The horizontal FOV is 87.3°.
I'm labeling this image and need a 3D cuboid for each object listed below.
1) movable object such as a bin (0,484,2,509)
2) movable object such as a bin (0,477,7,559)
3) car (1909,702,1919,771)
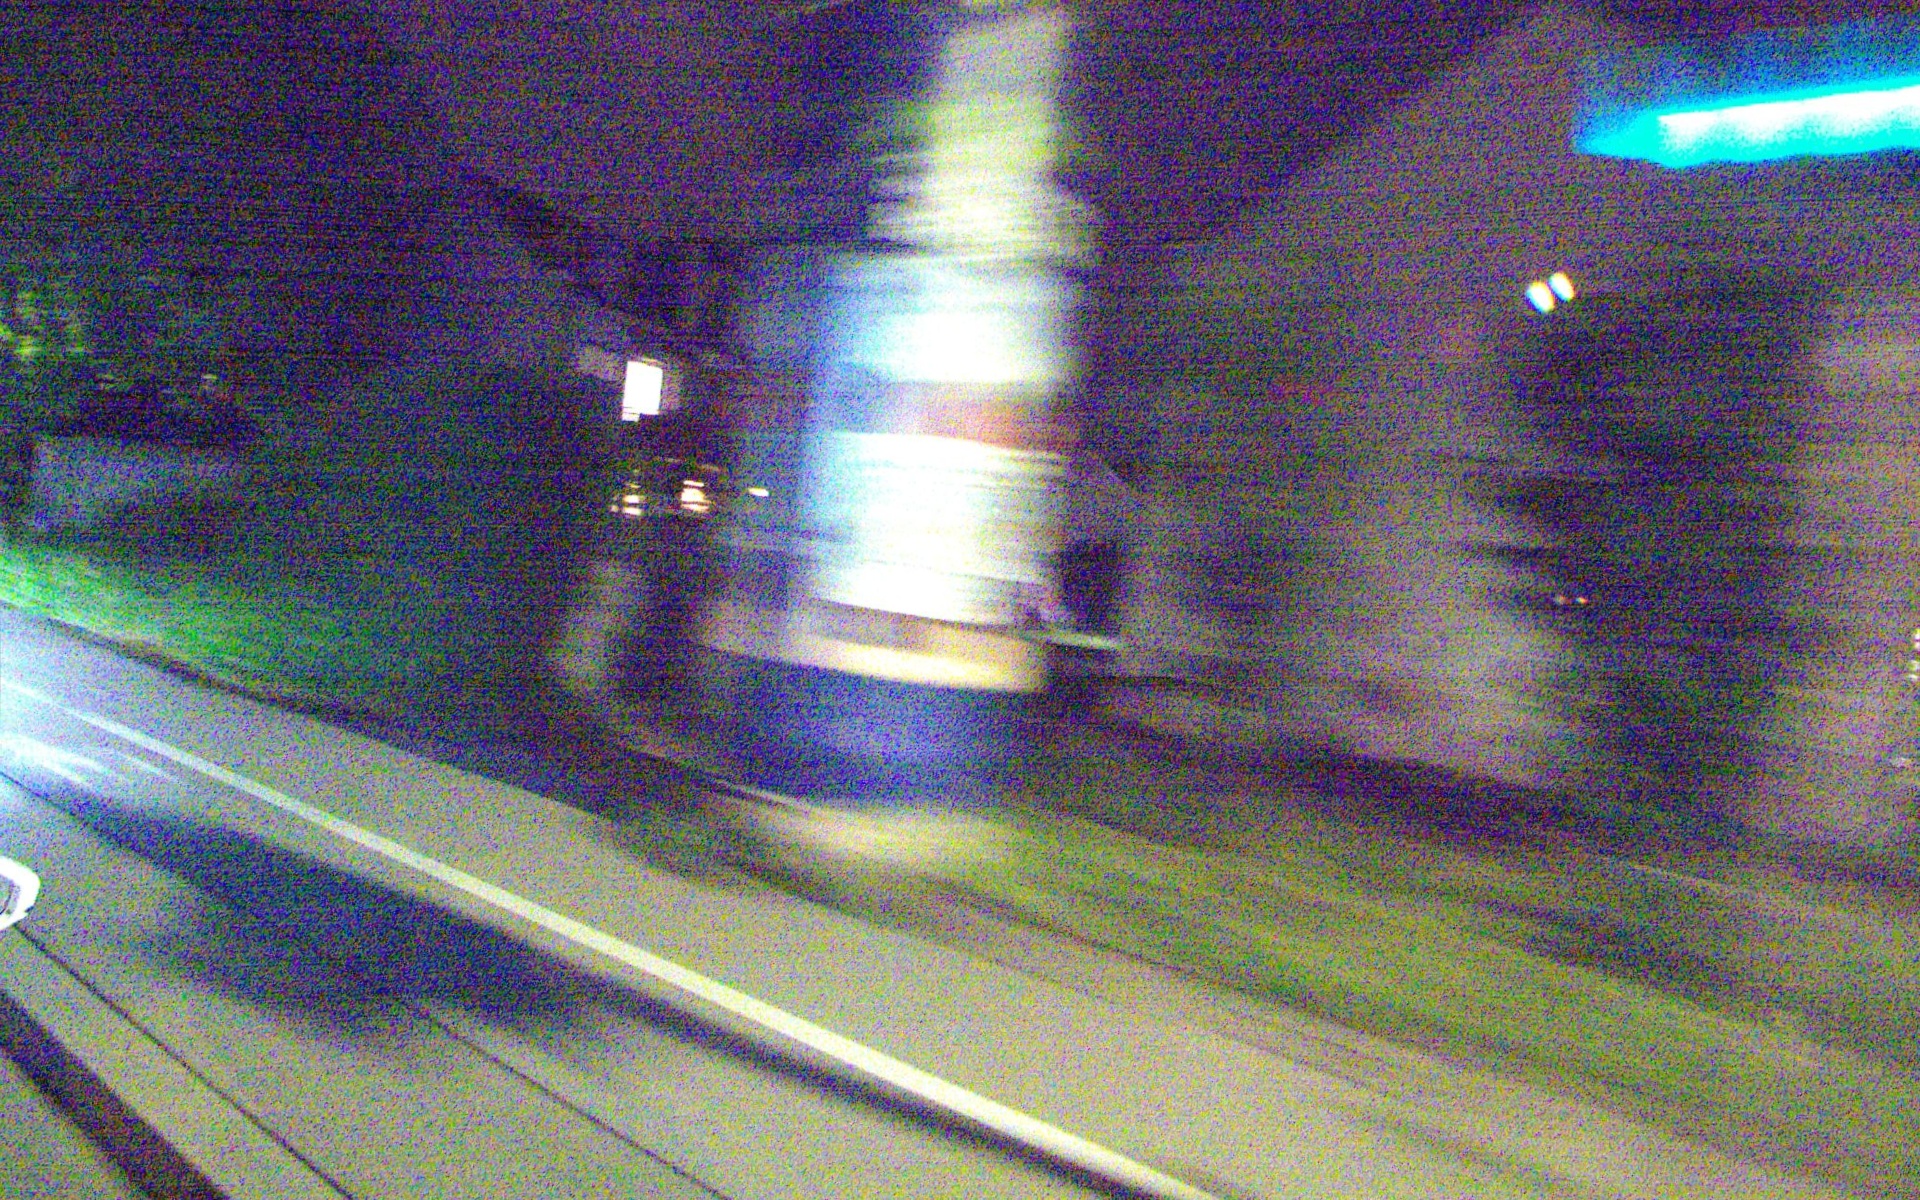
[{"bbox_3d":[-13.641,-1.078,13.698,0.880,1.136,0.722,8,2,41],"label":"movable object such as a bin"},{"bbox_3d":[-13.030,-1.046,13.129,0.709,1.216,0.723,8,2,40],"label":"movable object such as a bin"},{"bbox_3d":[26.923,3.821,26.291,1.966,1.905,3.993,7,0,30],"label":"car"}]
